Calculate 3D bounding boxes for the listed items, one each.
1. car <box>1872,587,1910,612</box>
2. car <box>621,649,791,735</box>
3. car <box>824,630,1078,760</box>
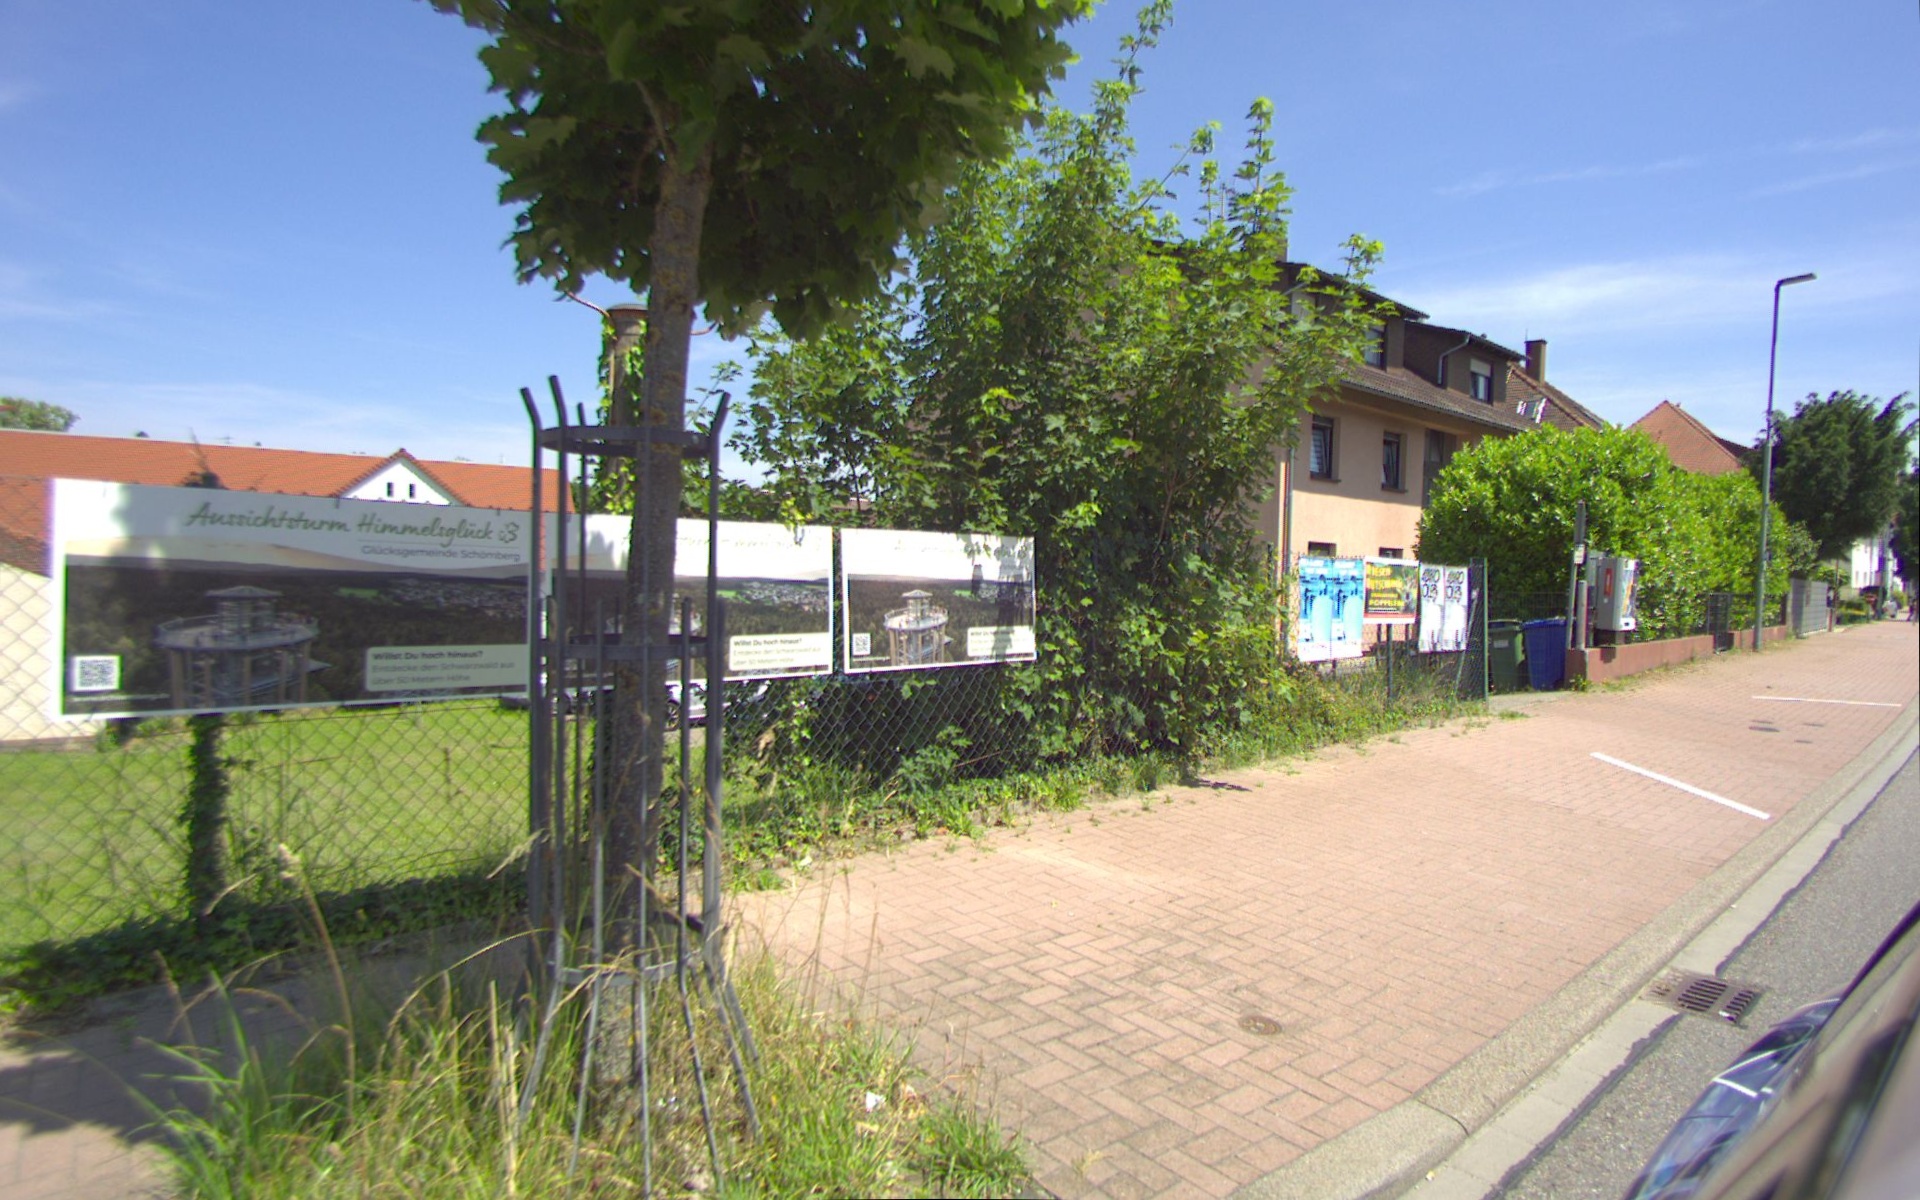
[{"bbox_3d":[59.566,-0.029,64.735,4.361,1.549,1.507,0,0,-43],"label":"car"},{"bbox_3d":[-5.430,1.939,21.826,3.236,1.492,1.324,-3,-3,-42],"label":"car"},{"bbox_3d":[-0.069,1.354,14.928,3.510,1.492,1.493,-3,-5,-41],"label":"car"}]
